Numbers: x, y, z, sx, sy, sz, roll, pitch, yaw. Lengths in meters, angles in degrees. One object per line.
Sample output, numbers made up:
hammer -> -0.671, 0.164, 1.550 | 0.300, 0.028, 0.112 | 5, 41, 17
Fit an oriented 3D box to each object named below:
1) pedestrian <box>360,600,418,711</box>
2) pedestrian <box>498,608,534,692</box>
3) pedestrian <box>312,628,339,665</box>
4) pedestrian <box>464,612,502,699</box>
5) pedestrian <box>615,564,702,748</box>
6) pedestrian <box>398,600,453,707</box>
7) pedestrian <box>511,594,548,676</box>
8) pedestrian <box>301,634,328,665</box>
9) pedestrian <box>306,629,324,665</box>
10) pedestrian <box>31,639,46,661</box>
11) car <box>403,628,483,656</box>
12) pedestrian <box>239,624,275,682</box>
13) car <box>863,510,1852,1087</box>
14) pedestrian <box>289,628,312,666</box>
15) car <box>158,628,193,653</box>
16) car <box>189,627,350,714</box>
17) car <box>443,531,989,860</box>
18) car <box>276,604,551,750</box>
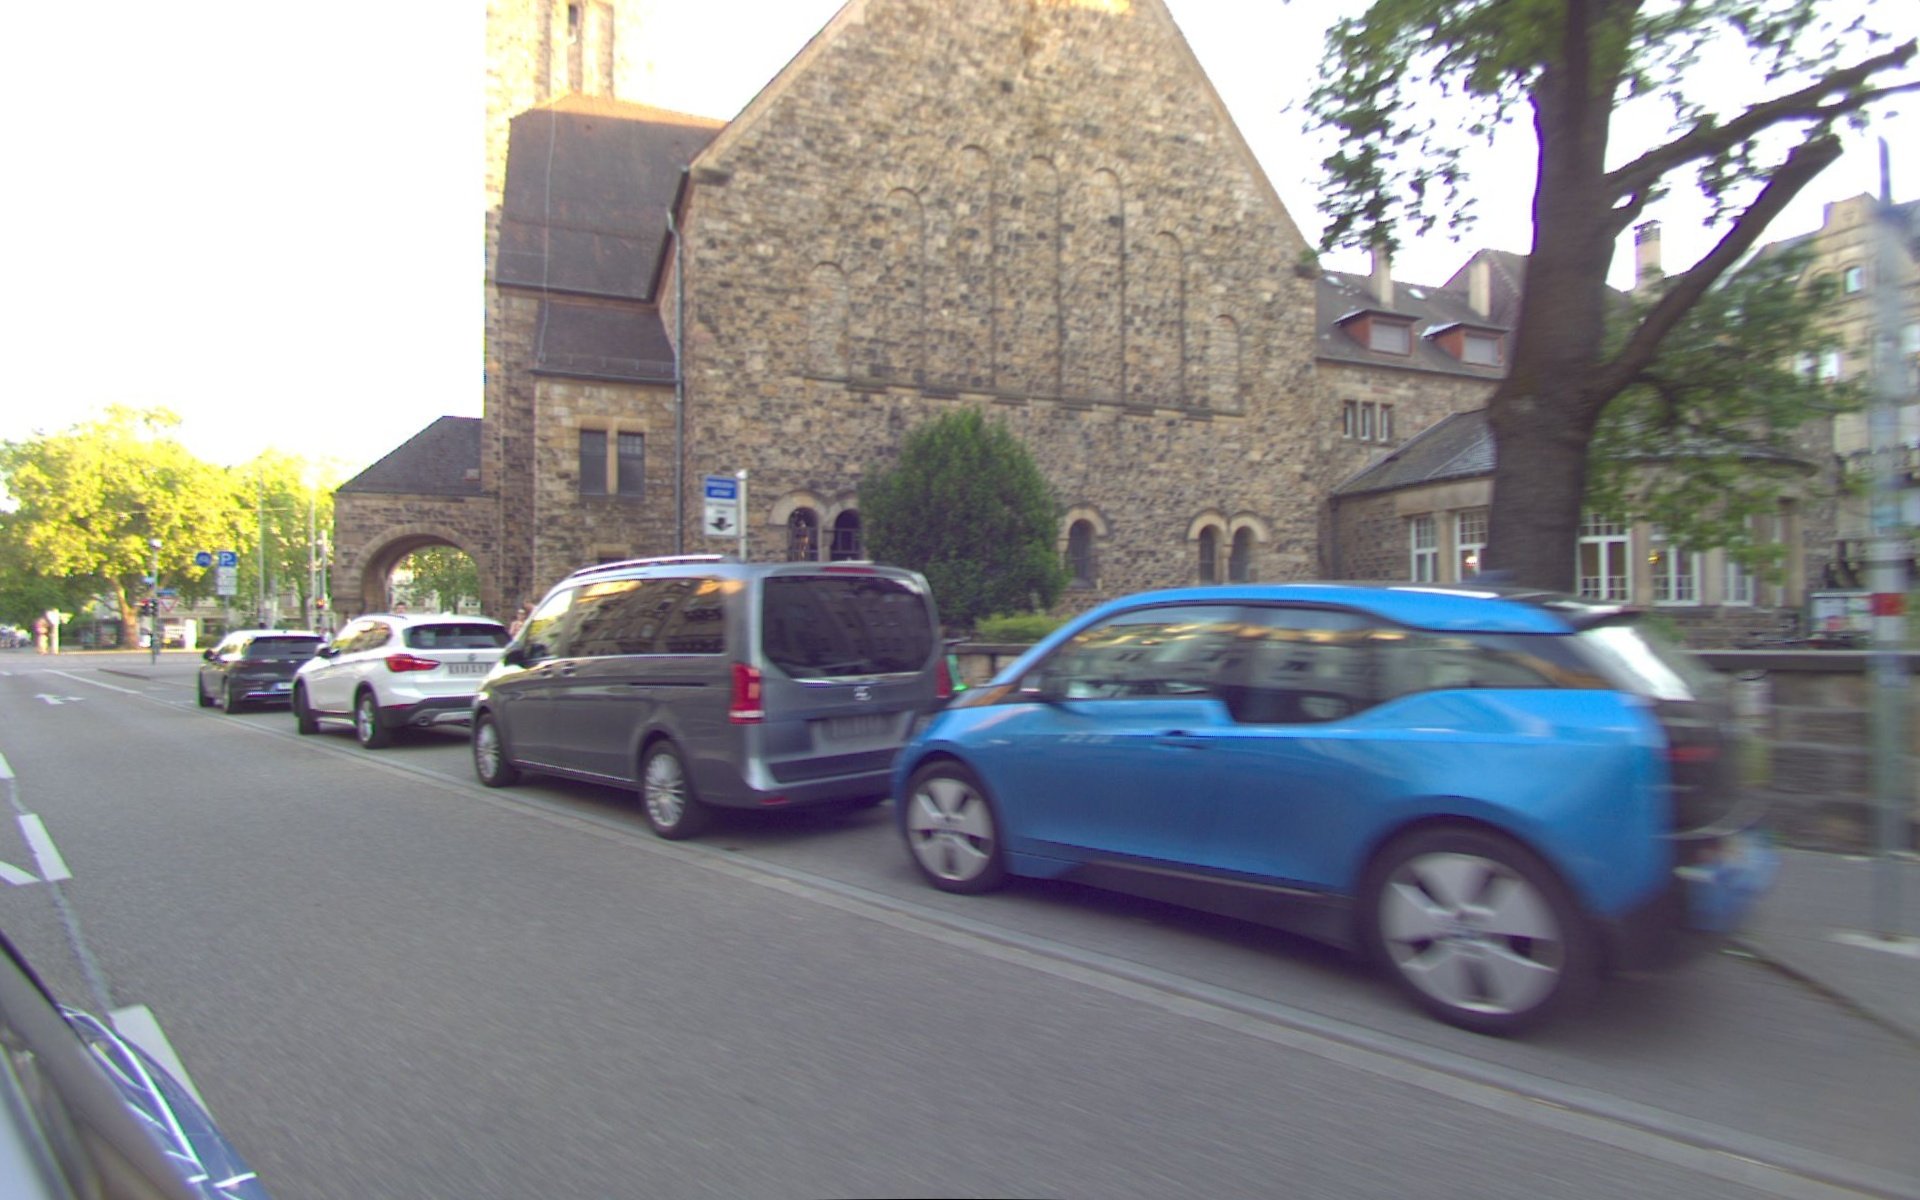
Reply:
pedestrian -> -10.003, 0.956, 17.729 | 0.891, 1.894, 0.640 | -2, -2, 41
pedestrian -> -8.958, 1.004, 20.427 | 0.541, 1.687, 0.414 | -1, -2, 5
pedestrian -> -24.312, 1.785, 38.787 | 0.692, 1.417, 0.633 | 0, -2, -11
pedestrian -> -9.134, 1.062, 19.386 | 0.541, 1.634, 0.414 | -1, -2, 5
pedestrian -> -3.293, 0.597, 11.050 | 0.803, 1.920, 0.576 | -2, -3, 41
pedestrian -> -9.628, 0.950, 18.232 | 0.988, 1.871, 0.566 | -2, -2, 41
pedestrian -> -8.389, 0.671, 19.740 | 0.641, 1.557, 0.587 | 0, -2, -22
pedestrian -> -28.634, 2.192, 44.892 | 0.790, 1.385, 0.701 | 0, -2, -12
pedestrian -> -25.356, 1.851, 39.802 | 0.395, 1.417, 0.549 | 0, -2, -11
pedestrian -> -71.888, 3.894, 78.926 | 0.734, 1.641, 0.662 | 0, -2, -29
car -> -30.811, 2.513, 60.465 | 3.933, 1.570, 1.846 | 0, -2, -14
pedestrian -> -21.414, 1.604, 30.829 | 0.690, 1.738, 0.708 | -2, -2, 34
car -> 1.444, 0.603, 4.768 | 1.621, 1.567, 4.006 | 1, -2, -45
pedestrian -> -25.843, 1.833, 39.662 | 0.541, 1.464, 0.559 | 0, -2, -11
car -> -65.307, 3.385, 84.306 | 1.837, 2.029, 3.821 | 1, -2, -31
car -> -13.001, 1.245, 18.940 | 1.762, 1.446, 4.318 | 1, -3, -44
car -> -2.353, 0.631, 8.389 | 1.970, 1.881, 5.293 | 1, -2, -44
car -> -7.332, 0.924, 13.378 | 4.468, 1.604, 1.851 | -2, -2, 43
